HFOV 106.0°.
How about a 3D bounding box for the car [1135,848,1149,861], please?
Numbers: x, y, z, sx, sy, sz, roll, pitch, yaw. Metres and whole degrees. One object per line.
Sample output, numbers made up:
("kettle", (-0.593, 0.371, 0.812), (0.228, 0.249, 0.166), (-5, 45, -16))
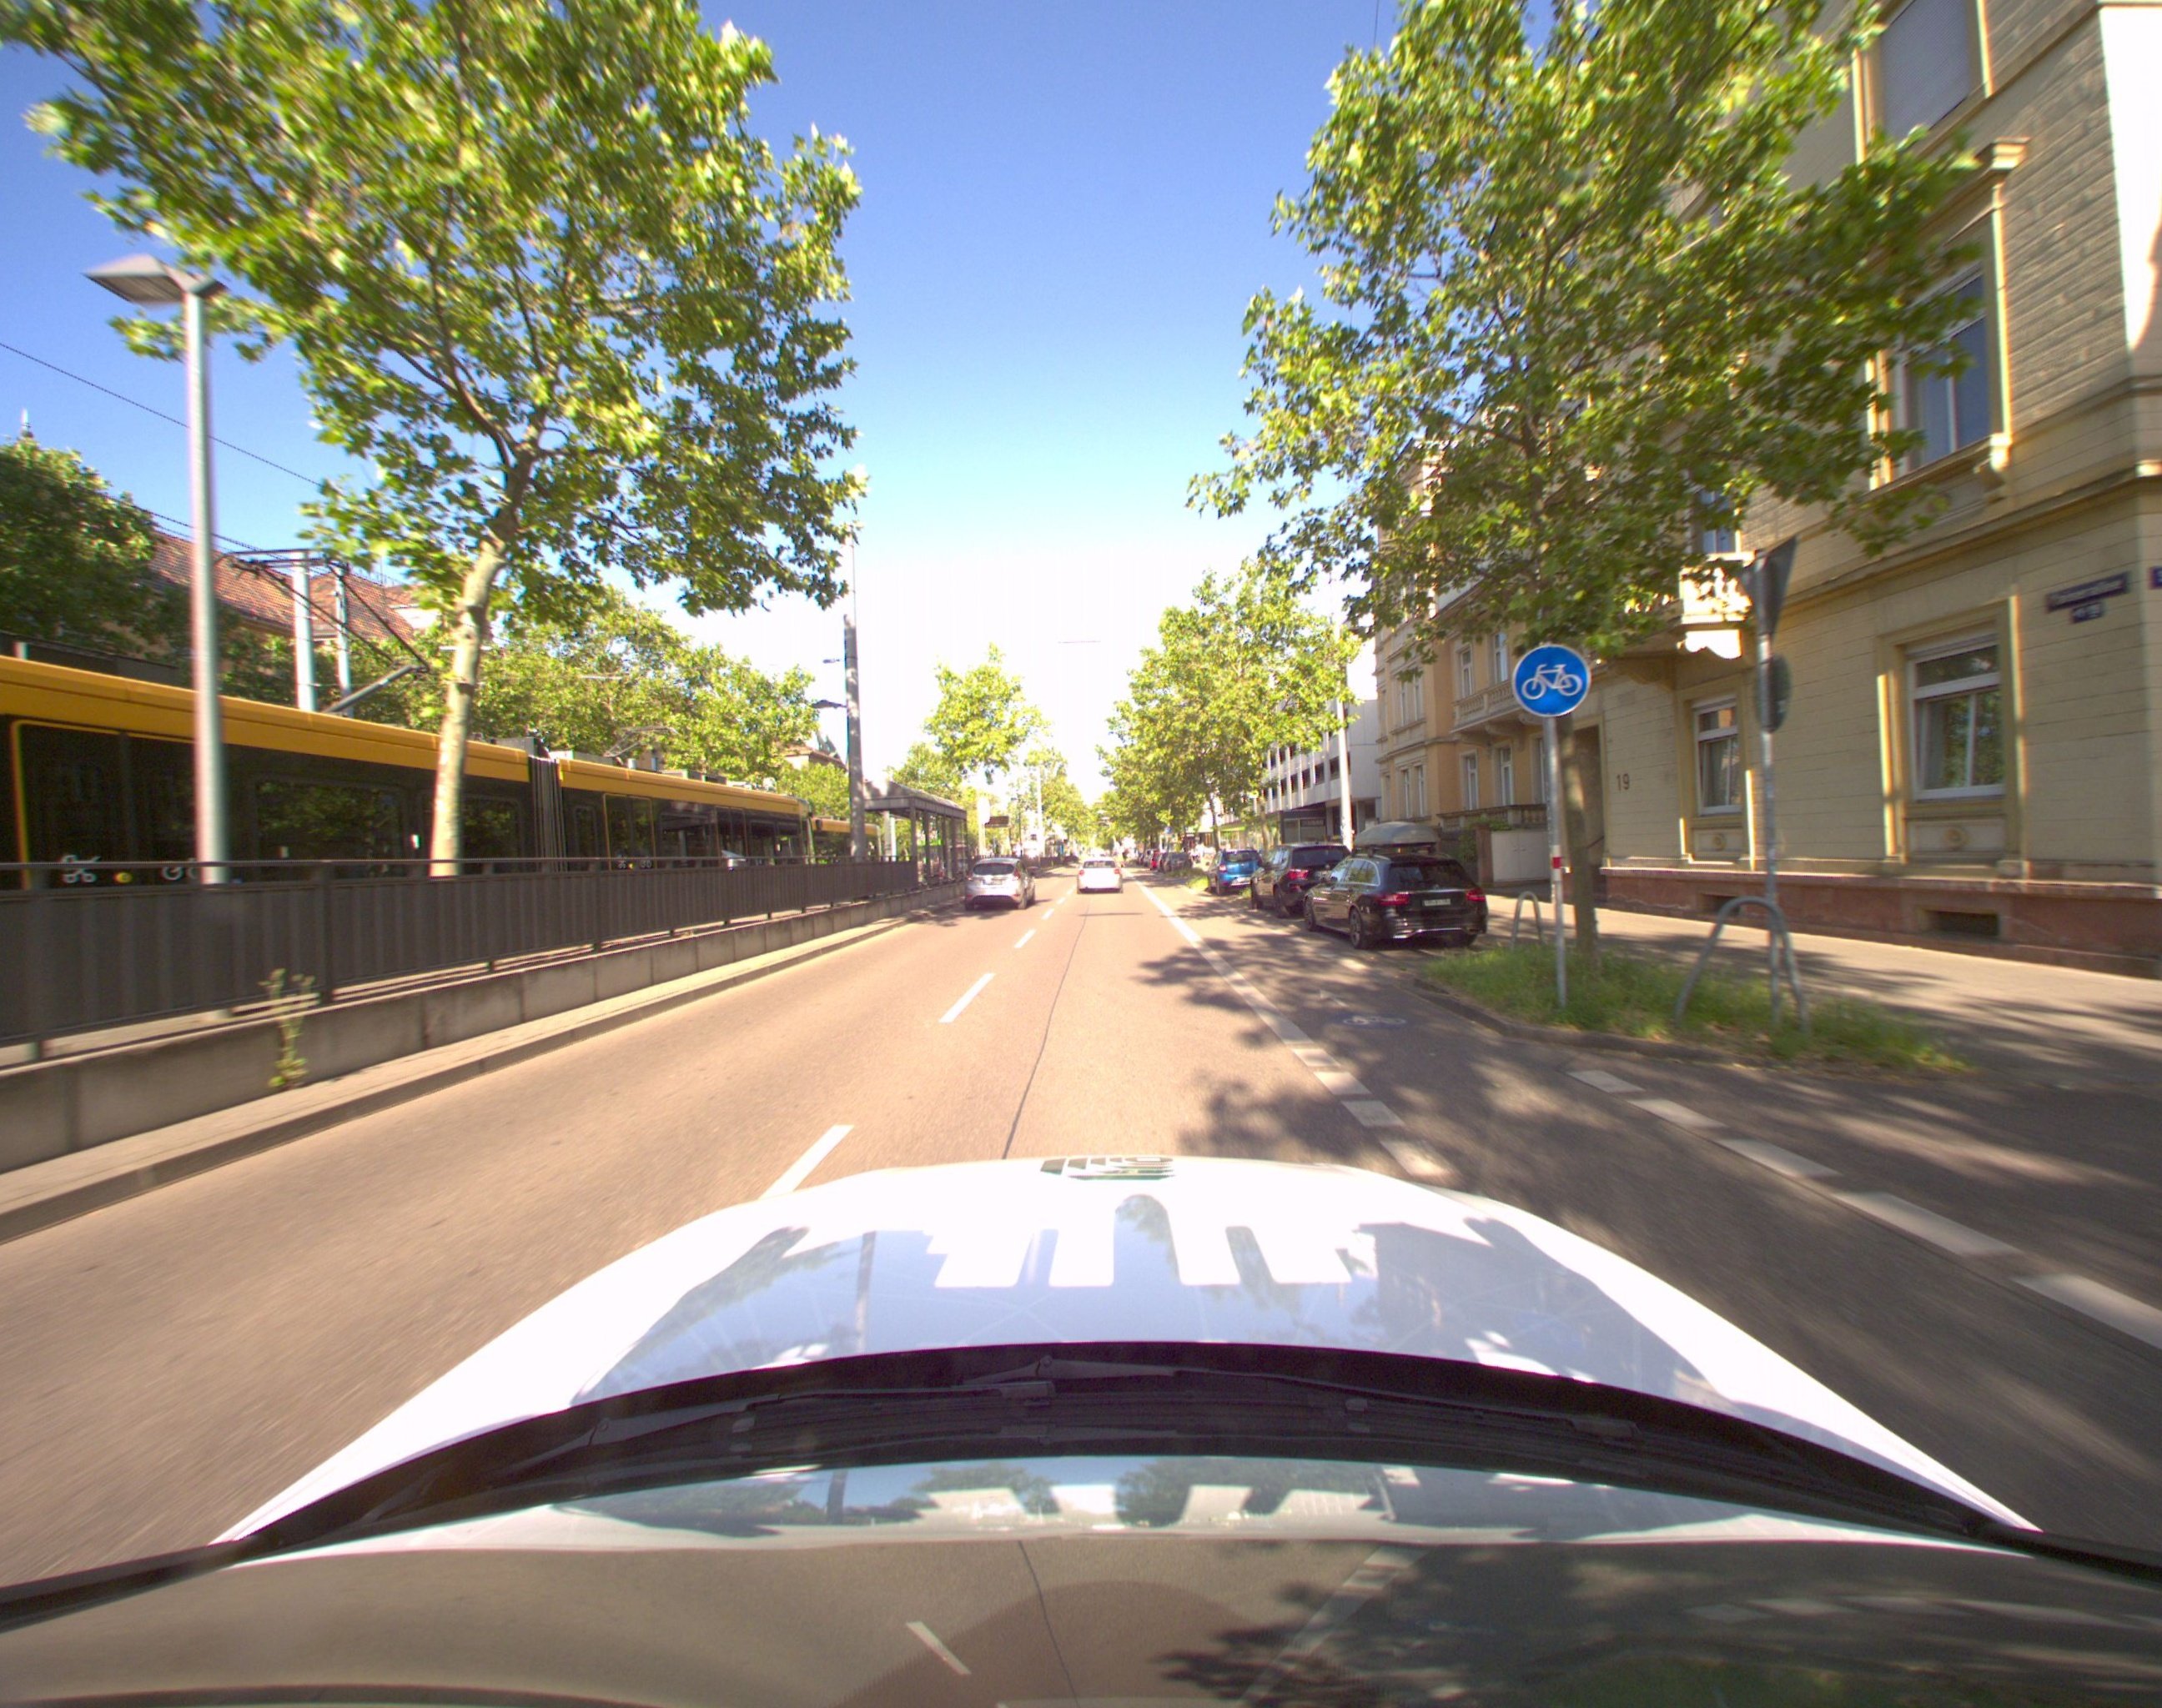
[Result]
("car", (7.628, 0.085, 102.248), (1.694, 1.534, 3.719), (-1, 1, 2))

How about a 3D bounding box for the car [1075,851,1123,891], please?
("car", (0.717, 0.635, 32.422), (1.756, 1.432, 4.001), (-1, 1, 1))

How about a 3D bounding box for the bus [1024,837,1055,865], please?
("bus", (-5.849, -0.515, 117.992), (2.739, 3.625, 18.858), (-2, 1, 2))

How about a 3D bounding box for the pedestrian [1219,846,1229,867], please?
("pedestrian", (14.151, 0.220, 80.634), (0.785, 2.013, 0.891), (-2, 0, 2))

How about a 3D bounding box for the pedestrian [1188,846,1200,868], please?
("pedestrian", (10.671, 0.317, 76.788), (0.960, 2.013, 0.939), (-2, 0, 2))

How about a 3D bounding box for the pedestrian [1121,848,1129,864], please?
("pedestrian", (5.380, 0.271, 100.004), (0.833, 2.013, 0.650), (0, 1, 9))

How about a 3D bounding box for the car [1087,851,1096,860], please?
("car", (2.473, 0.417, 195.571), (1.986, 2.013, 4.003), (-1, 1, 2))

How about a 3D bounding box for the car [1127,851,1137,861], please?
("car", (10.803, 0.439, 173.035), (1.986, 2.013, 4.003), (-1, 1, 2))

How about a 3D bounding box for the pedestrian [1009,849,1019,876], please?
("pedestrian", (-4.913, 0.596, 59.619), (0.636, 1.954, 0.814), (-1, 1, 2))

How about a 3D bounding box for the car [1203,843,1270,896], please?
("car", (5.462, 0.480, 29.050), (1.685, 1.658, 4.041), (-2, 1, 2))

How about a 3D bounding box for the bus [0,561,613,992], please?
("bus", (-9.963, -0.582, 8.265), (2.858, 3.444, 12.221), (-2, 0, 2))

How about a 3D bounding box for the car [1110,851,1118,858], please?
("car", (9.413, 0.167, 231.949), (2.063, 2.013, 4.002), (-2, 0, 2))

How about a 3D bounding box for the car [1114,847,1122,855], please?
("car", (10.060, -0.878, 219.411), (1.986, 2.013, 4.002), (-2, 0, 2))

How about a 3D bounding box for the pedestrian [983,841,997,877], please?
("pedestrian", (-5.040, 0.267, 44.940), (0.636, 1.954, 0.814), (-1, 1, 2))

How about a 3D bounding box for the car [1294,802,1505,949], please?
("car", (5.021, 0.267, 13.617), (1.748, 1.964, 4.739), (-2, 1, 2))

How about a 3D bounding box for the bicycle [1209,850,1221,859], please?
("bicycle", (15.438, 0.093, 93.969), (1.378, 1.055, 0.243), (-1, 1, 1))

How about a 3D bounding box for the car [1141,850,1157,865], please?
("car", (7.935, 0.400, 95.370), (1.704, 1.563, 4.003), (-1, 1, 2))

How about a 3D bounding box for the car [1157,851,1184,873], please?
("car", (6.605, 0.578, 60.257), (1.663, 1.551, 4.003), (-1, 1, 2))

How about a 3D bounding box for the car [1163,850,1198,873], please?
("car", (6.663, 0.488, 55.029), (1.986, 1.509, 4.600), (-1, 0, 2))

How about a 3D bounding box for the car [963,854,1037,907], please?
("car", (-2.285, 0.719, 23.791), (1.640, 1.362, 3.762), (-1, 1, 2))

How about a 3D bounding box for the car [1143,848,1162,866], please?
("car", (7.532, 0.271, 85.925), (1.718, 1.880, 4.002), (-1, 0, 2))

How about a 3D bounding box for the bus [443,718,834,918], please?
("bus", (-9.592, -0.651, 20.205), (2.858, 3.444, 11.617), (-2, 0, 2))

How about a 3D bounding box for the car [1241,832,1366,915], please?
("car", (5.177, 0.413, 19.593), (1.791, 1.700, 4.739), (-2, 0, 2))

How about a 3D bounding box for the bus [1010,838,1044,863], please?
("bus", (-8.547, -0.728, 133.559), (2.858, 3.628, 24.618), (-2, 1, 2))

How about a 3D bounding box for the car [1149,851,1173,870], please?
("car", (6.919, 0.547, 70.631), (1.799, 1.520, 4.002), (-1, 0, 2))

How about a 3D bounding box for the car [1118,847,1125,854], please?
("car", (11.995, -1.152, 242.555), (1.868, 2.013, 3.713), (-1, 1, 2))
